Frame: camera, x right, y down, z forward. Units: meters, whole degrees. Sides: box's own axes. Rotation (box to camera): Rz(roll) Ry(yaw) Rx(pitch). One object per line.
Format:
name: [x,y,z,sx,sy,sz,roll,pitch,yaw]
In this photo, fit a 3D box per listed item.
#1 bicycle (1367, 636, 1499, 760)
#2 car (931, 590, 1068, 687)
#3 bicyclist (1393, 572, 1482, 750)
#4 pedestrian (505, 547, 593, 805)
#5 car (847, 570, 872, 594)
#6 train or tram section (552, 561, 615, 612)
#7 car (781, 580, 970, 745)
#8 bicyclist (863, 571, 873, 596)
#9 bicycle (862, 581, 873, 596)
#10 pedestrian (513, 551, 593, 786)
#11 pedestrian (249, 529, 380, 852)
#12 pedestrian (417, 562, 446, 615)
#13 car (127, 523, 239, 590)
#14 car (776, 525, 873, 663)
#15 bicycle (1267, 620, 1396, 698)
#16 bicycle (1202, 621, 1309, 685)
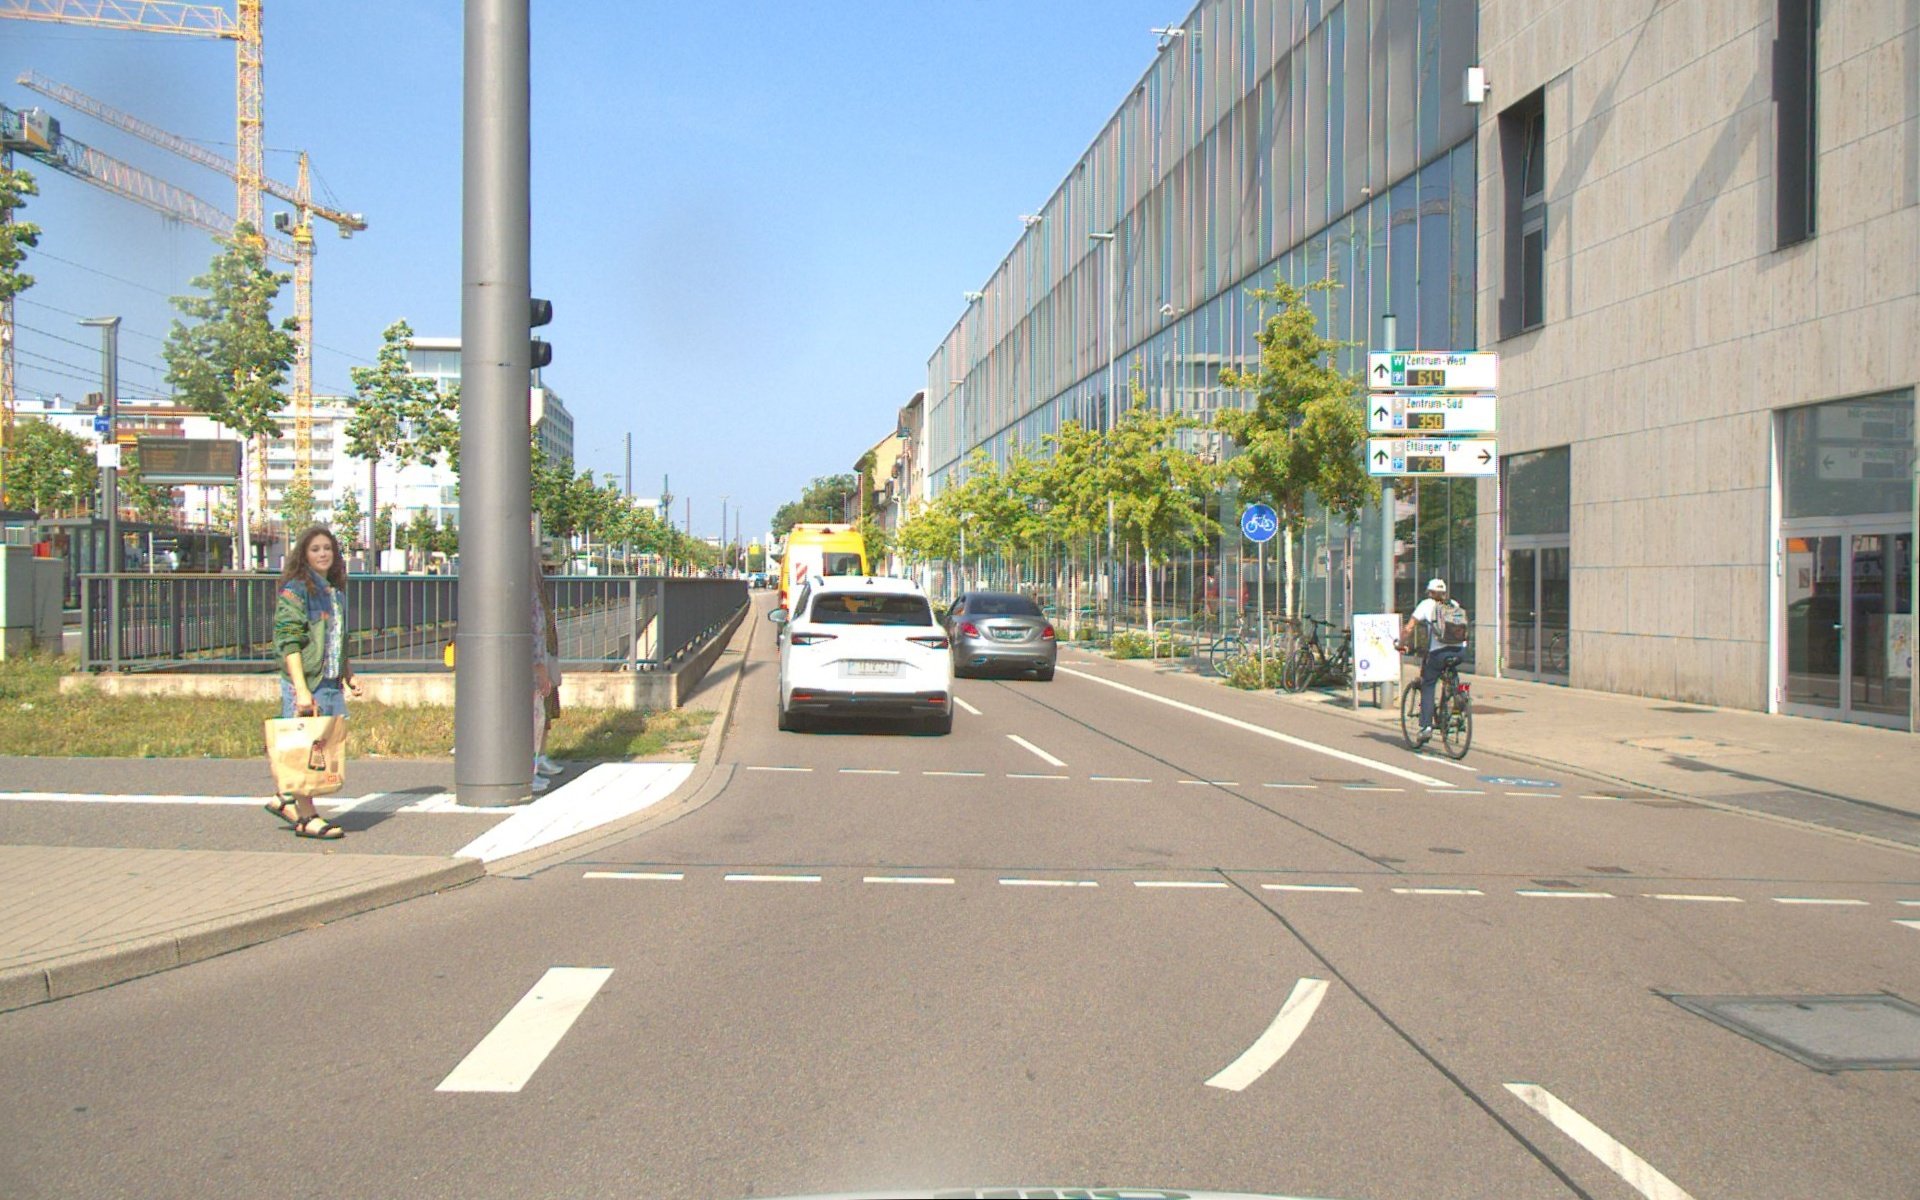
bicycle: [4.881,0.981,17.207,0.648,1.137,2.049,0,1,-4]
car: [0.602,0.614,28.674,1.727,1.461,4.108,2,1,-7]
bicyclist: [4.880,0.604,16.929,0.638,1.779,0.769,0,0,-4]
pedestrian: [-2.765,0.492,11.163,0.458,1.678,0.776,1,0,-7]
car: [-9.007,-1.605,148.004,2.024,2.049,4.581,0,1,-7]
train or tram section: [-30.033,-1.058,132.628,2.850,3.740,18.110,2,0,-7]
car: [-1.039,0.590,18.202,1.834,1.602,3.995,0,1,-7]
bicyclist: [-5.872,-1.066,105.189,0.626,1.604,0.770,1,0,-5]
bicycle: [-5.895,-0.729,105.229,0.642,0.955,1.515,1,1,-5]
pedestrian: [-2.995,0.484,12.211,0.458,1.678,0.776,1,0,-7]
pedestrian: [-3.494,0.468,8.993,0.458,1.678,0.776,1,0,-7]
pedestrian: [-16.576,-0.363,51.859,0.722,1.647,0.709,1,0,-8]
car: [-43.847,-2.383,93.703,2.996,3.574,9.219,1,0,-7]
car: [-3.101,-0.235,36.863,1.981,2.844,5.394,0,2,-6]
bicycle: [5.775,0.910,25.741,1.803,1.132,0.686,2,0,-5]
bicycle: [5.329,0.949,29.890,1.842,1.129,0.490,0,0,-5]
